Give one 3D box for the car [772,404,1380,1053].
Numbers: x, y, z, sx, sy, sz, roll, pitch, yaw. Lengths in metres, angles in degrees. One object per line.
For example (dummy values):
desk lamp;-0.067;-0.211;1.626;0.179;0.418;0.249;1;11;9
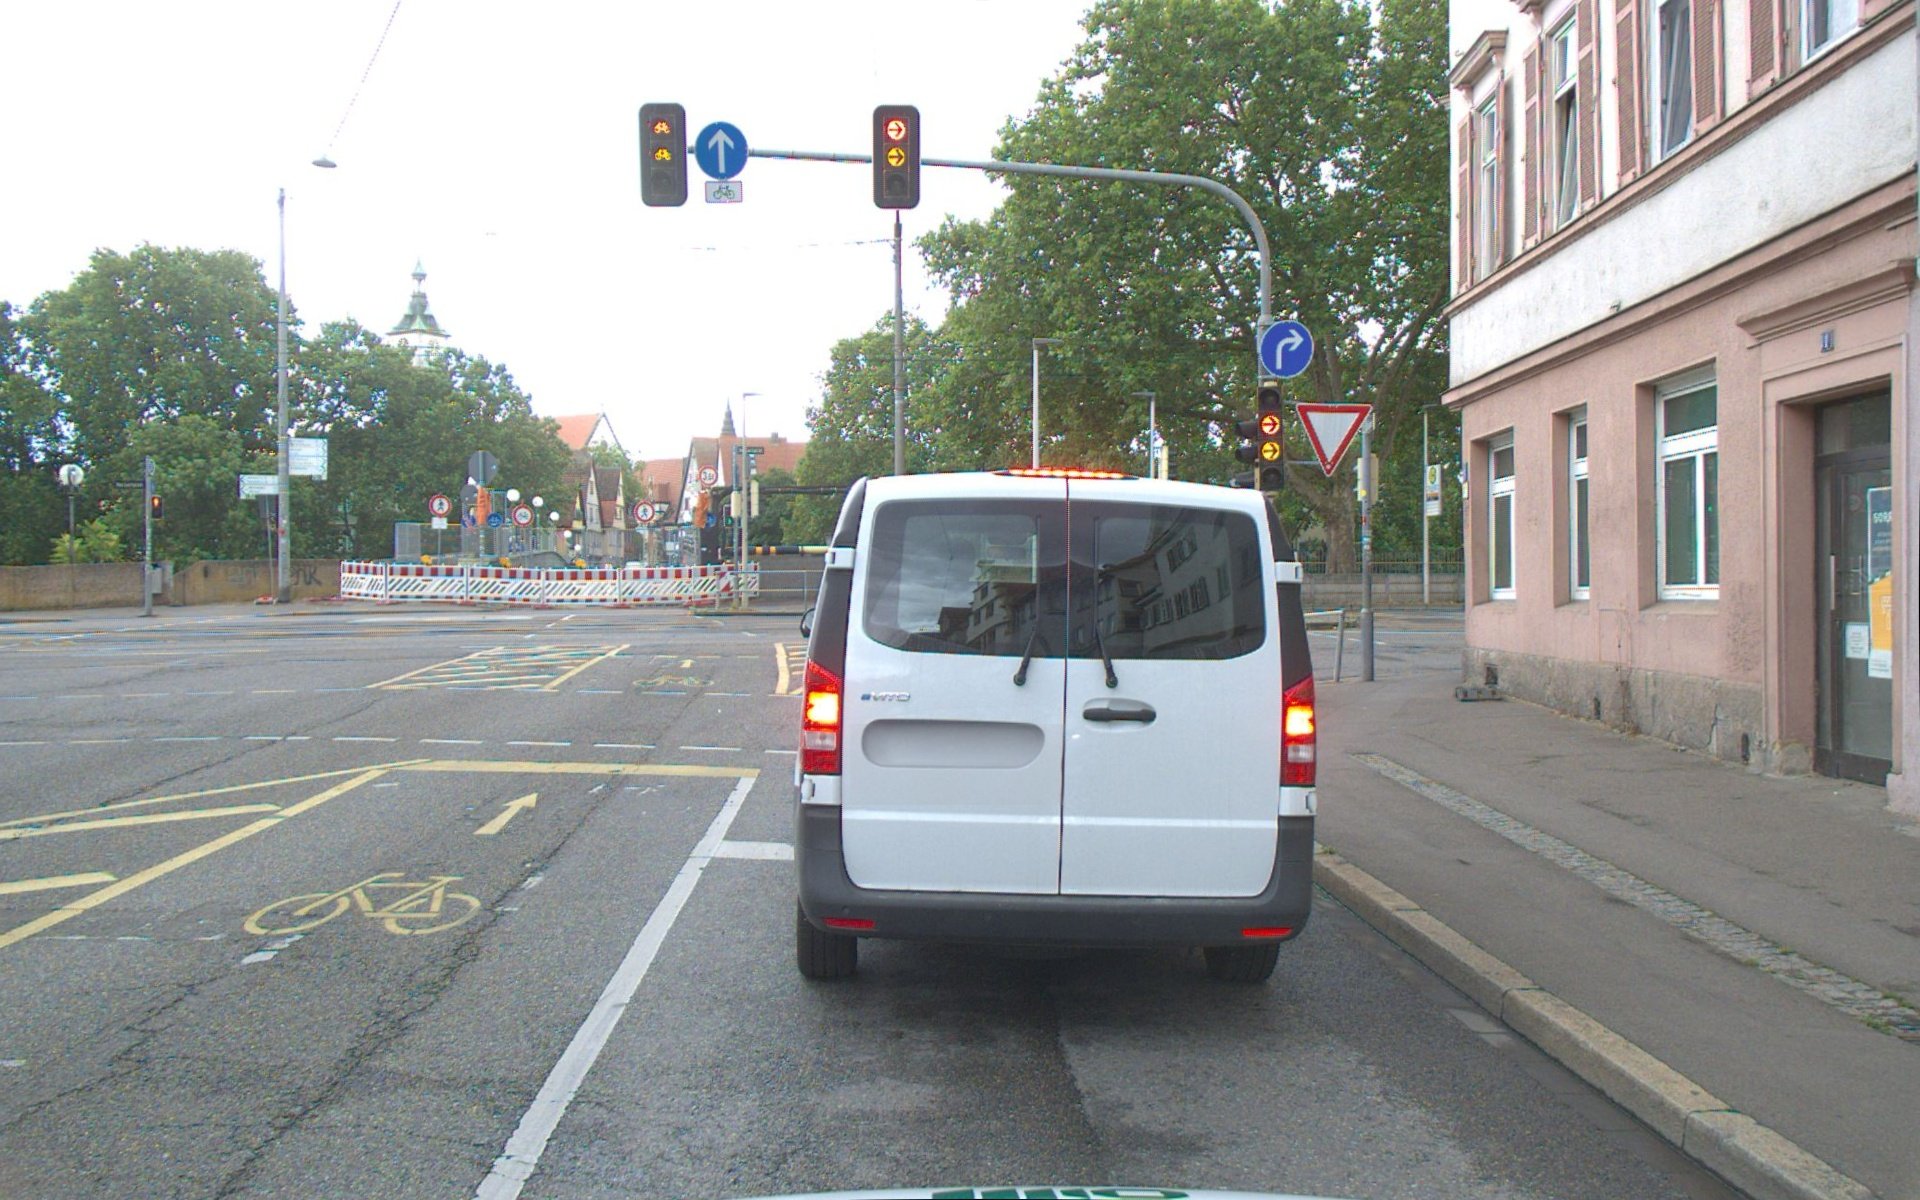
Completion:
car;0.337;0.352;7.634;1.911;2.048;4.698;1;2;-1
